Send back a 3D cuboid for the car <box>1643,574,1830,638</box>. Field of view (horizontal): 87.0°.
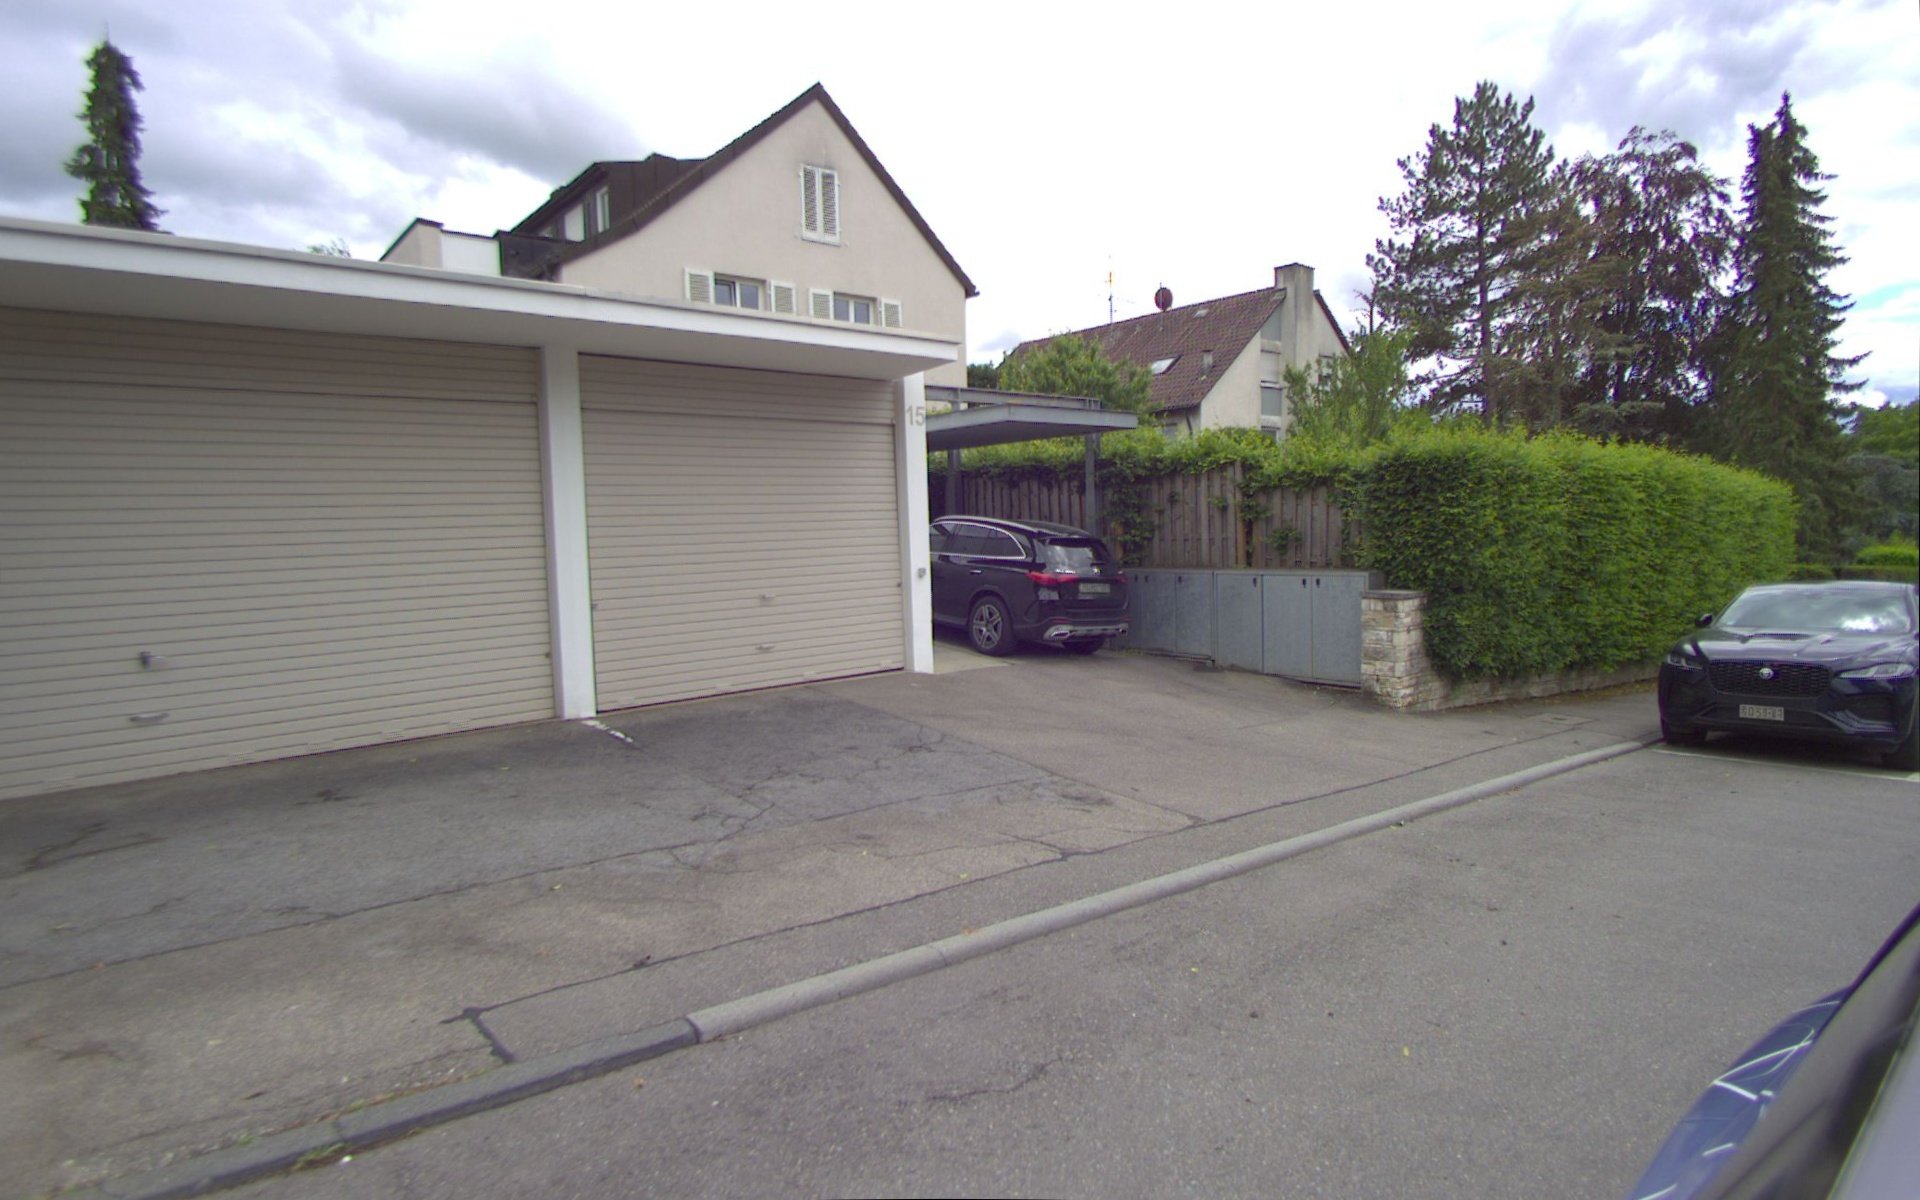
[{"bbox_3d":[22.738,0.125,29.729,4.205,1.619,1.854,4,3,41],"label":"car"}]

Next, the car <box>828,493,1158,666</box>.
[{"bbox_3d":[0.271,-0.401,13.618,1.852,1.667,4.377,0,8,-41],"label":"car"}]

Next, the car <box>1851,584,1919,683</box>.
[{"bbox_3d":[16.372,0.532,16.940,3.692,1.526,1.664,0,2,-41],"label":"car"}]

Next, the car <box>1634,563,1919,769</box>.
[{"bbox_3d":[8.787,0.500,10.212,4.430,1.638,1.999,-1,0,-38],"label":"car"}]
